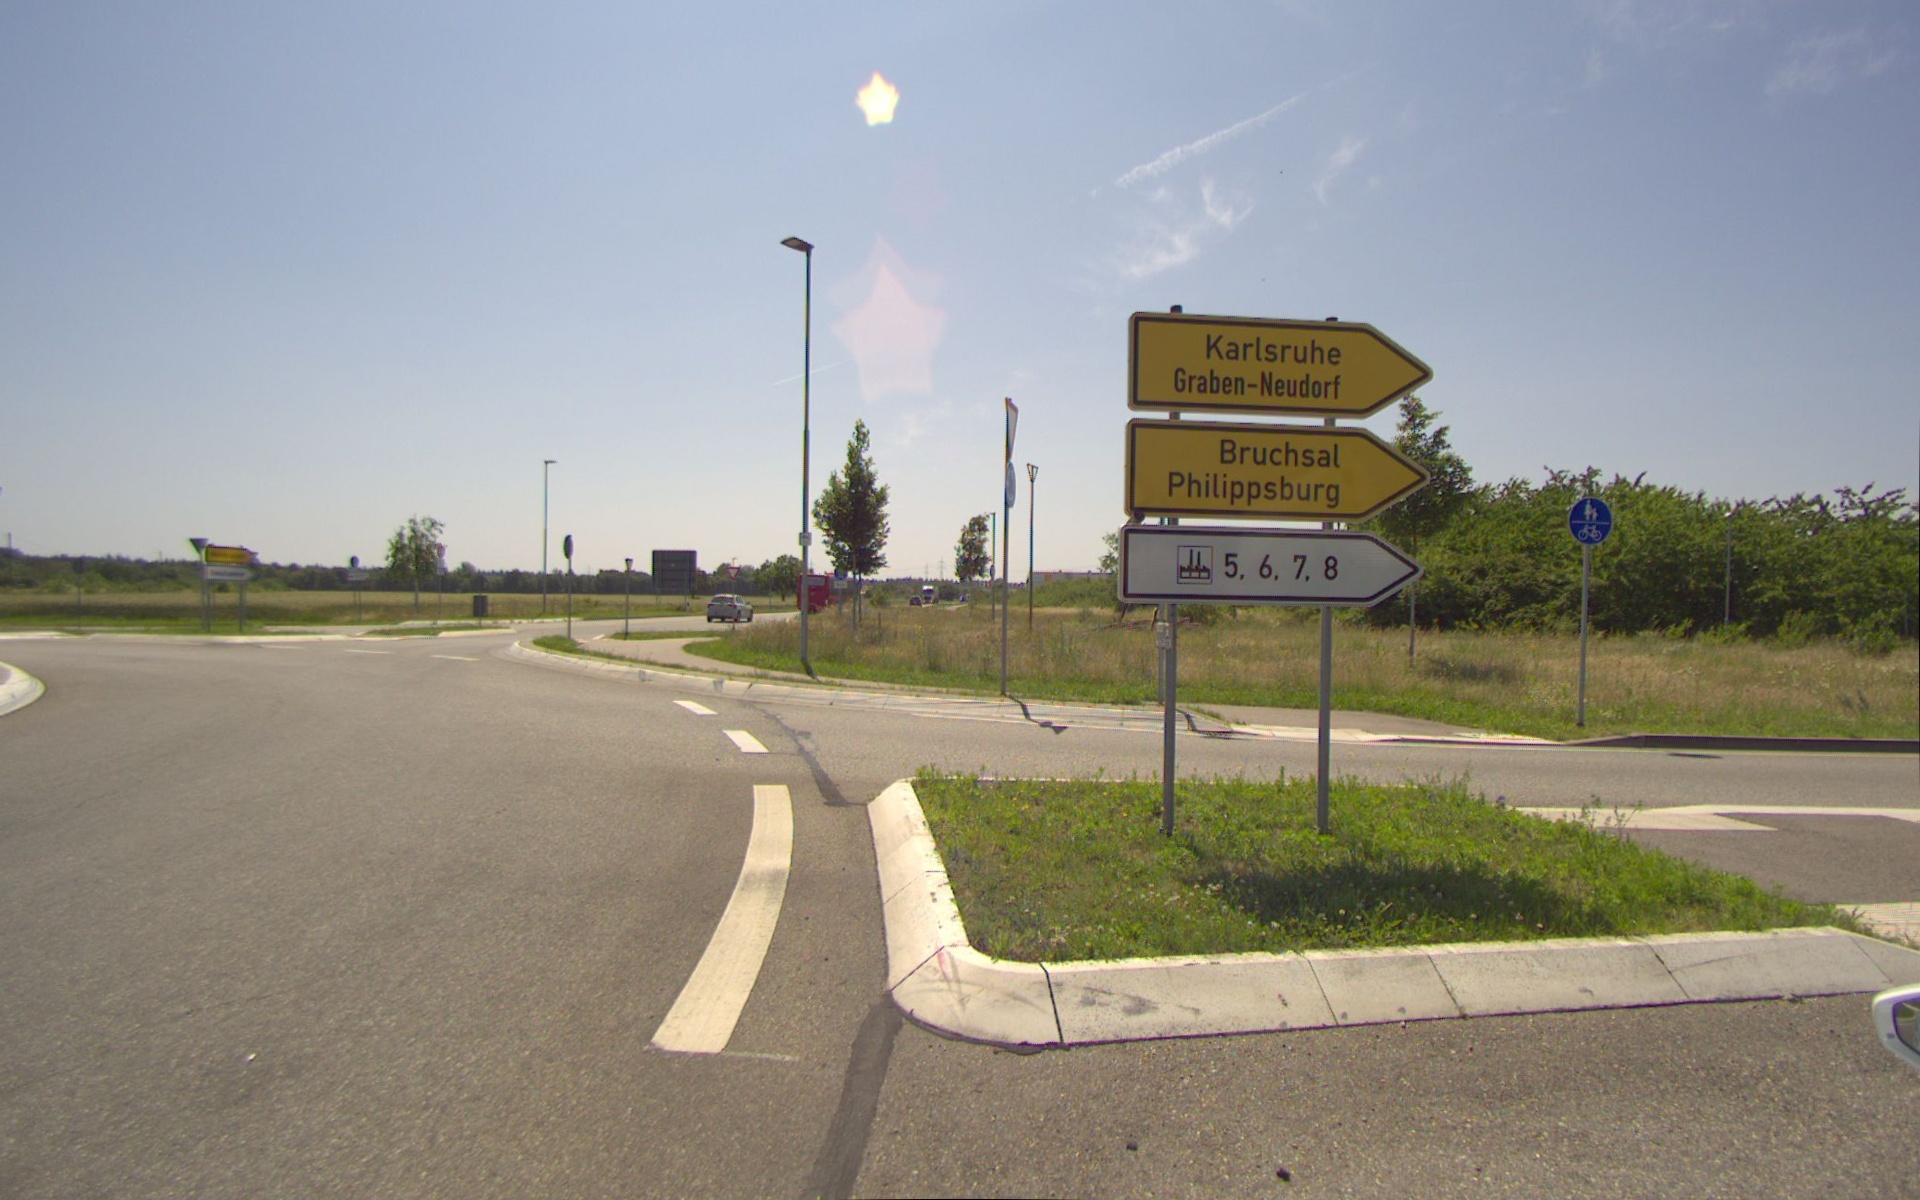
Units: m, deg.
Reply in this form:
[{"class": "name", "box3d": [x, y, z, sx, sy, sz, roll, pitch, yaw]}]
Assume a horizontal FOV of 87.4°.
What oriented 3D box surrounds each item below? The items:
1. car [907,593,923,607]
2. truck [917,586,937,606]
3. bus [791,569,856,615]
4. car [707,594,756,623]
[{"class": "car", "box3d": [-6.770, -0.012, 150.751, 1.960, 1.951, 4.002, 1, 0, 5]}, {"class": "truck", "box3d": [-7.467, -0.966, 228.676, 3.211, 4.395, 12.062, 1, 0, 4]}, {"class": "bus", "box3d": [-10.832, -0.590, 81.131, 3.248, 3.353, 11.992, 1, 0, 2]}, {"class": "car", "box3d": [-12.296, 0.450, 54.319, 1.694, 1.483, 3.603, 1, 0, 2]}]
